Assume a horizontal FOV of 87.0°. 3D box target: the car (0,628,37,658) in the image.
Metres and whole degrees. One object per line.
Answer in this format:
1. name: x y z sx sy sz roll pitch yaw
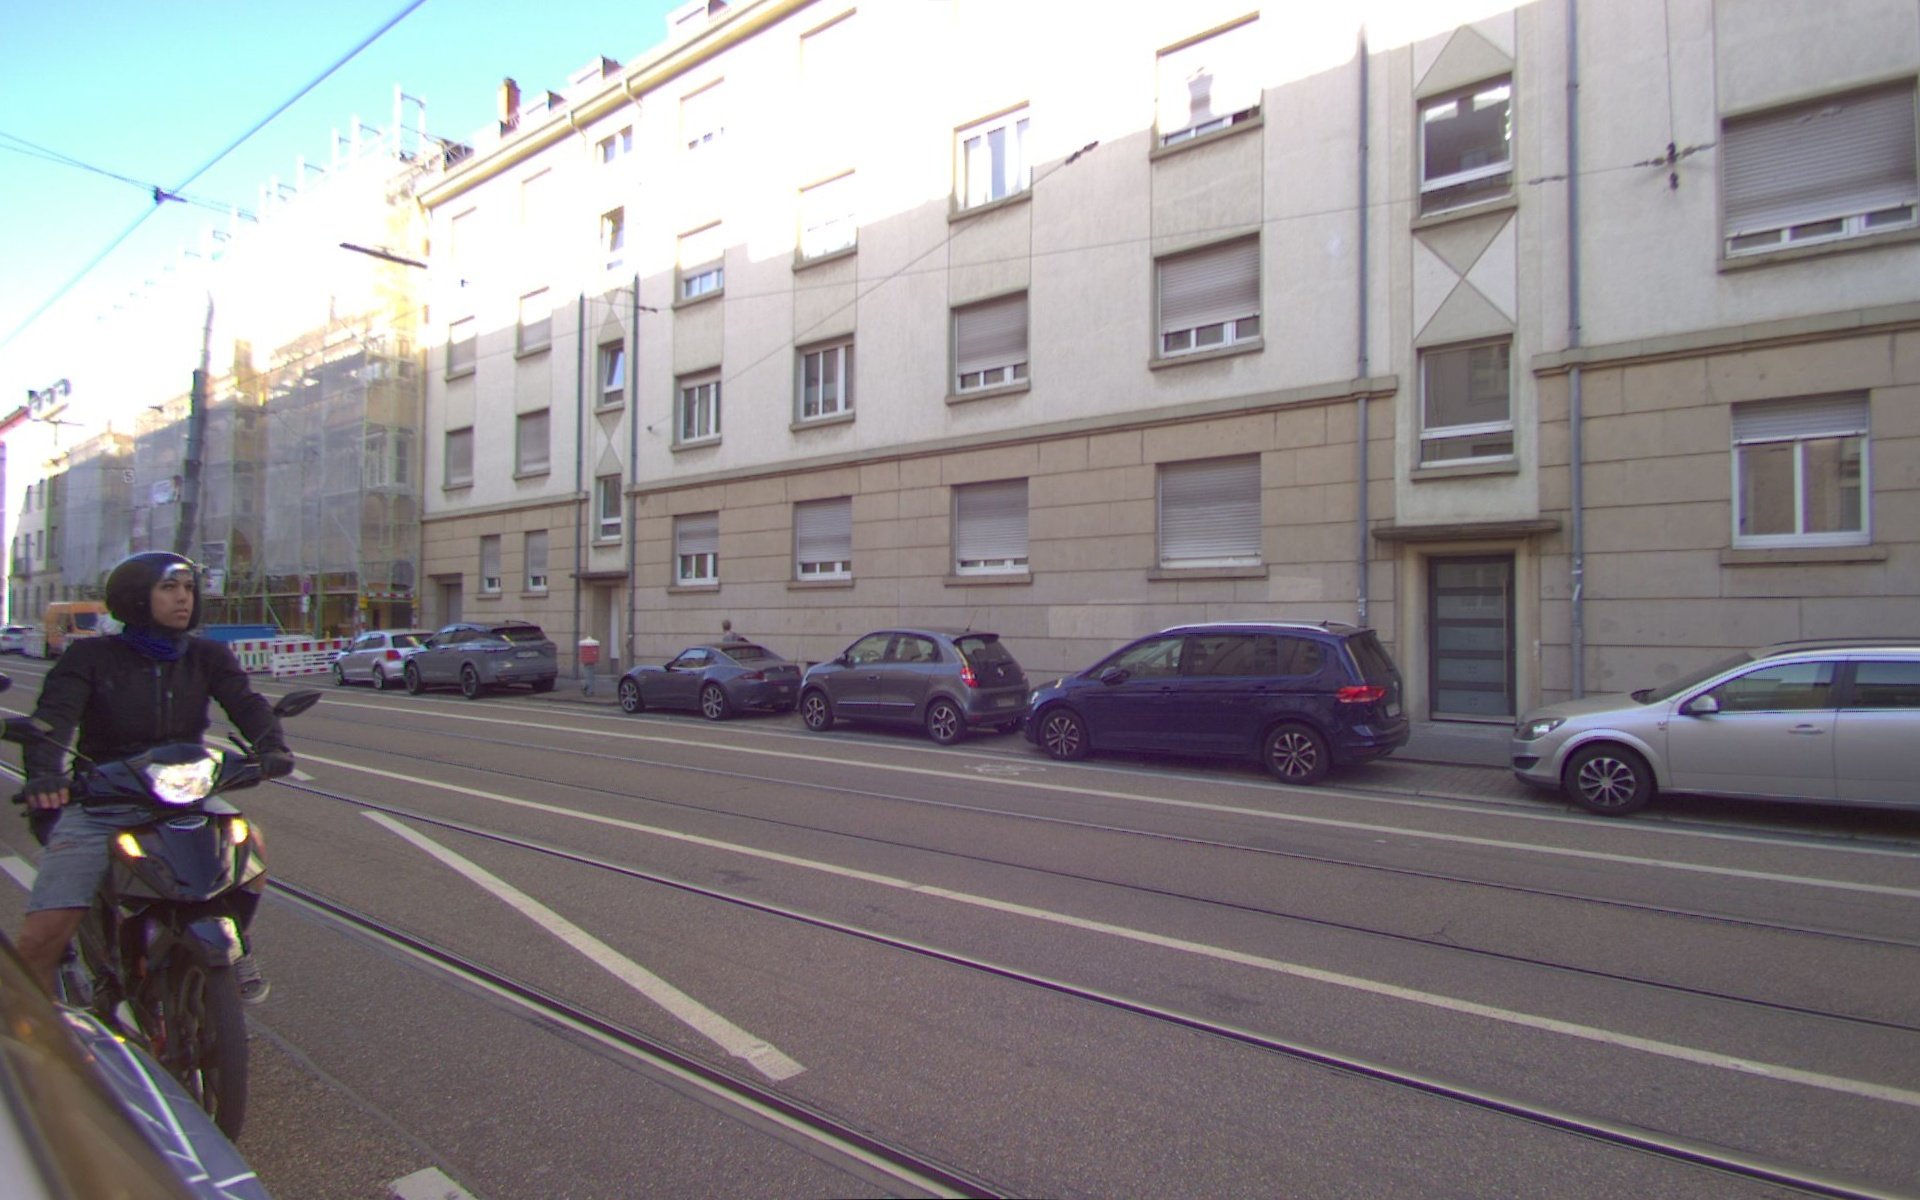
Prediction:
1. car: -50.063 2.271 53.343 3.964 1.498 1.662 -2 -1 42

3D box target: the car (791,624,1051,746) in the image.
1. car: -0.626 1.135 14.656 3.535 1.539 1.659 -1 -1 38

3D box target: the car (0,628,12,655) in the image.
1. car: -54.579 2.326 56.820 3.964 1.498 1.662 -2 -1 42

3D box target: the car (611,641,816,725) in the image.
1. car: -4.311 1.368 17.502 3.681 1.244 1.502 -1 -1 38

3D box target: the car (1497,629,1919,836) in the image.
1. car: 7.129 1.004 8.504 4.383 1.489 1.779 -1 -1 38

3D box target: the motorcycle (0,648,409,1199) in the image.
1. motorcycle: -2.637 0.819 3.239 2.272 1.302 0.781 -2 -3 41

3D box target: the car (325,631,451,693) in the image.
1. car: -14.382 1.500 25.399 3.506 1.423 1.524 -1 -1 38

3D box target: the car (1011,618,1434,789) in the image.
1. car: 2.895 1.034 11.678 4.383 1.611 1.779 -1 -1 38

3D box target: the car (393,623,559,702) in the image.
1. car: -10.880 1.335 22.662 4.201 1.611 1.675 -1 -1 38

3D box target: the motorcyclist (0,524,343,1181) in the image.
1. motorcyclist: -2.540 0.658 3.162 0.899 1.668 0.781 -2 -3 41

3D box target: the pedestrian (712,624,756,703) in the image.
1. pedestrian: -4.576 1.272 20.483 0.693 1.553 0.563 -2 -3 39
